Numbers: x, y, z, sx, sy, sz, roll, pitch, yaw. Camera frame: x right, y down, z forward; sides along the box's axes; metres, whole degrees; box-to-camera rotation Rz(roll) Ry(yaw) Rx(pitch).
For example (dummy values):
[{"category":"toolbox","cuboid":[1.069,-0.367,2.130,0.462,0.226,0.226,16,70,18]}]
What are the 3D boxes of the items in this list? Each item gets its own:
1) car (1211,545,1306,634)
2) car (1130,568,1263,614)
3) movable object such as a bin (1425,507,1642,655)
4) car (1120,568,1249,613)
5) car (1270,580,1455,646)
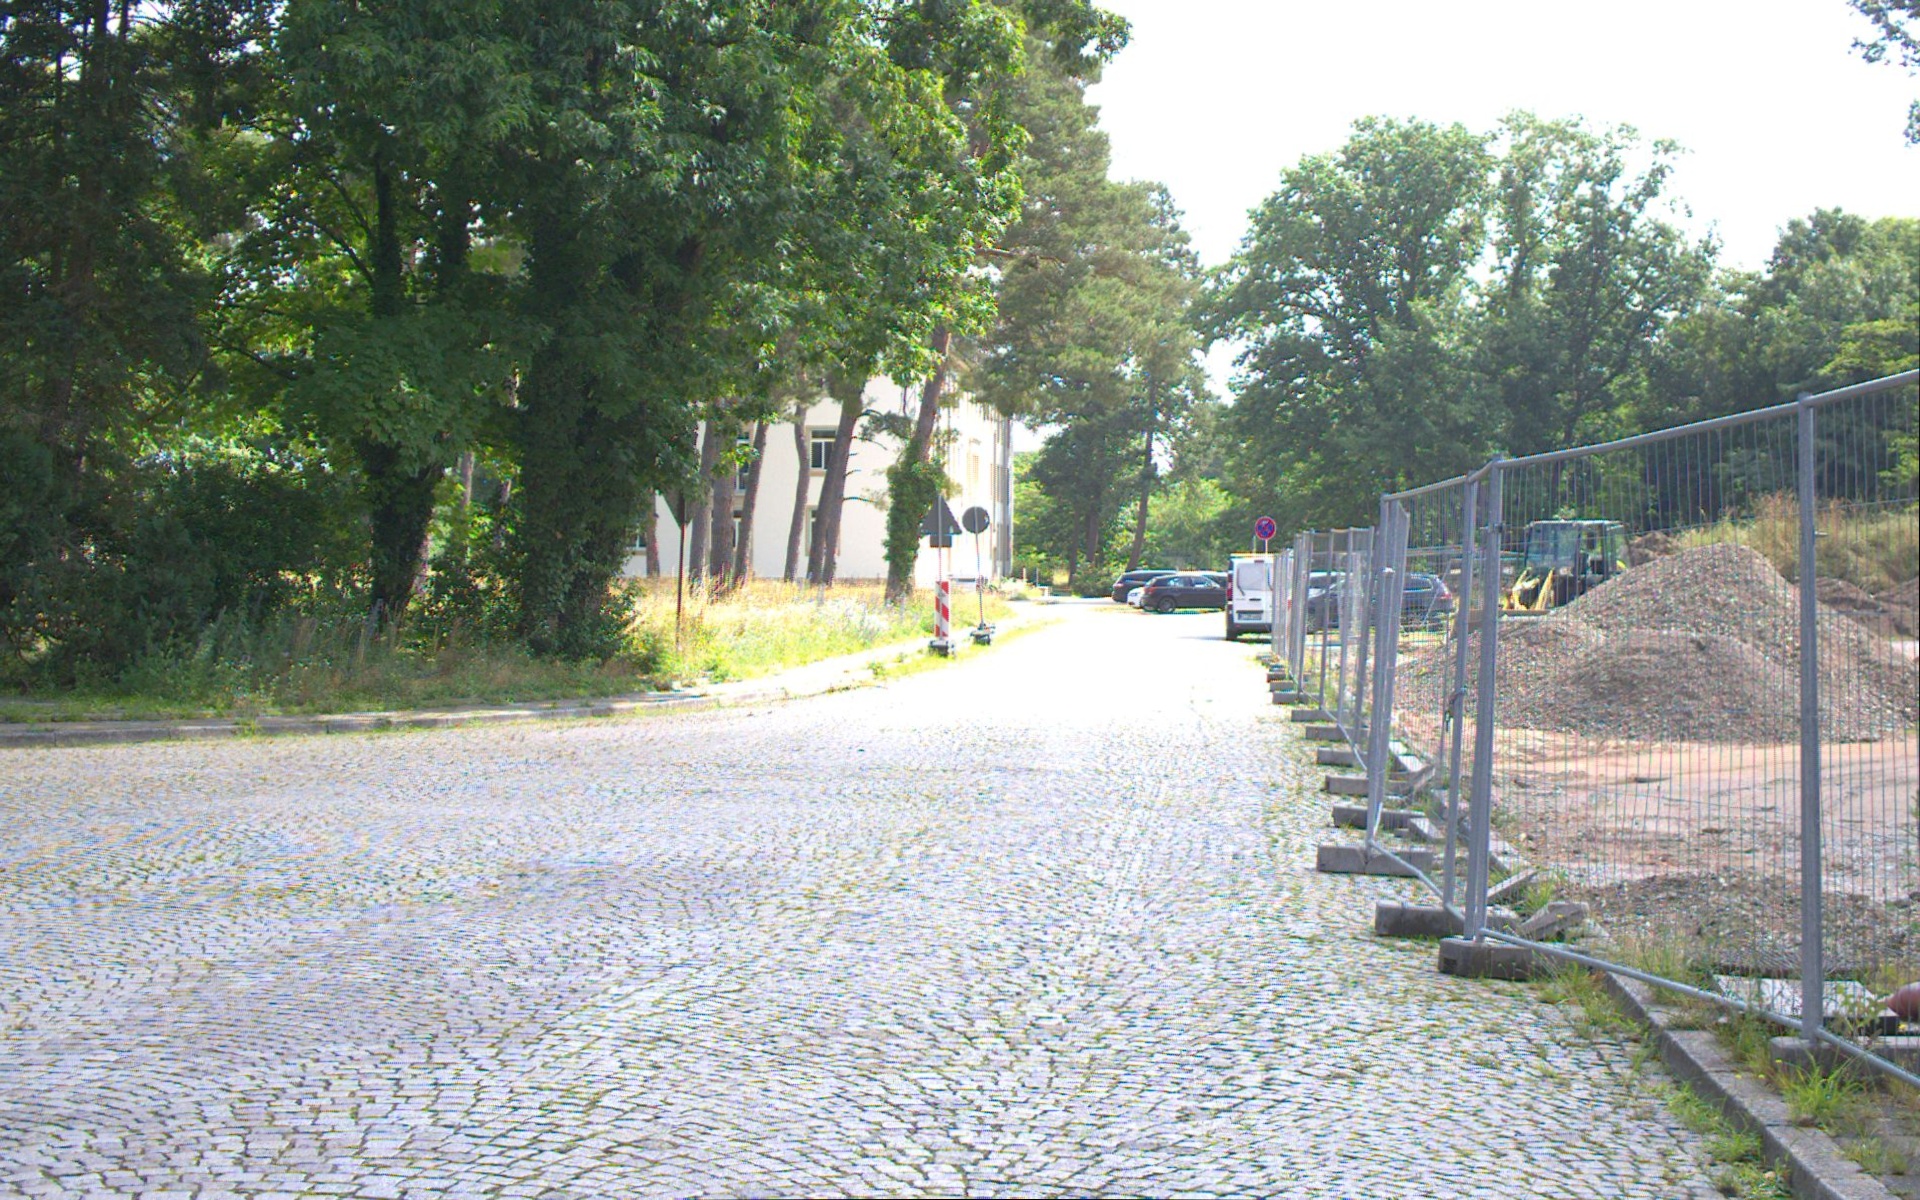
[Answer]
[{"category":"car","cuboid":[6.956,-0.248,80.451,1.994,2.007,4.091,1,0,3]},{"category":"car","cuboid":[8.822,-0.340,128.503,4.779,1.635,2.000,1,0,-1]},{"category":"movable object such as a bin","cuboid":[10.485,-0.351,62.609,2.132,2.584,4.782,1,1,33]},{"category":"car","cuboid":[8.579,-0.382,131.631,4.779,1.635,2.000,1,0,-1]},{"category":"car","cuboid":[10.090,0.312,86.112,4.405,1.505,1.999,2,1,12]}]
